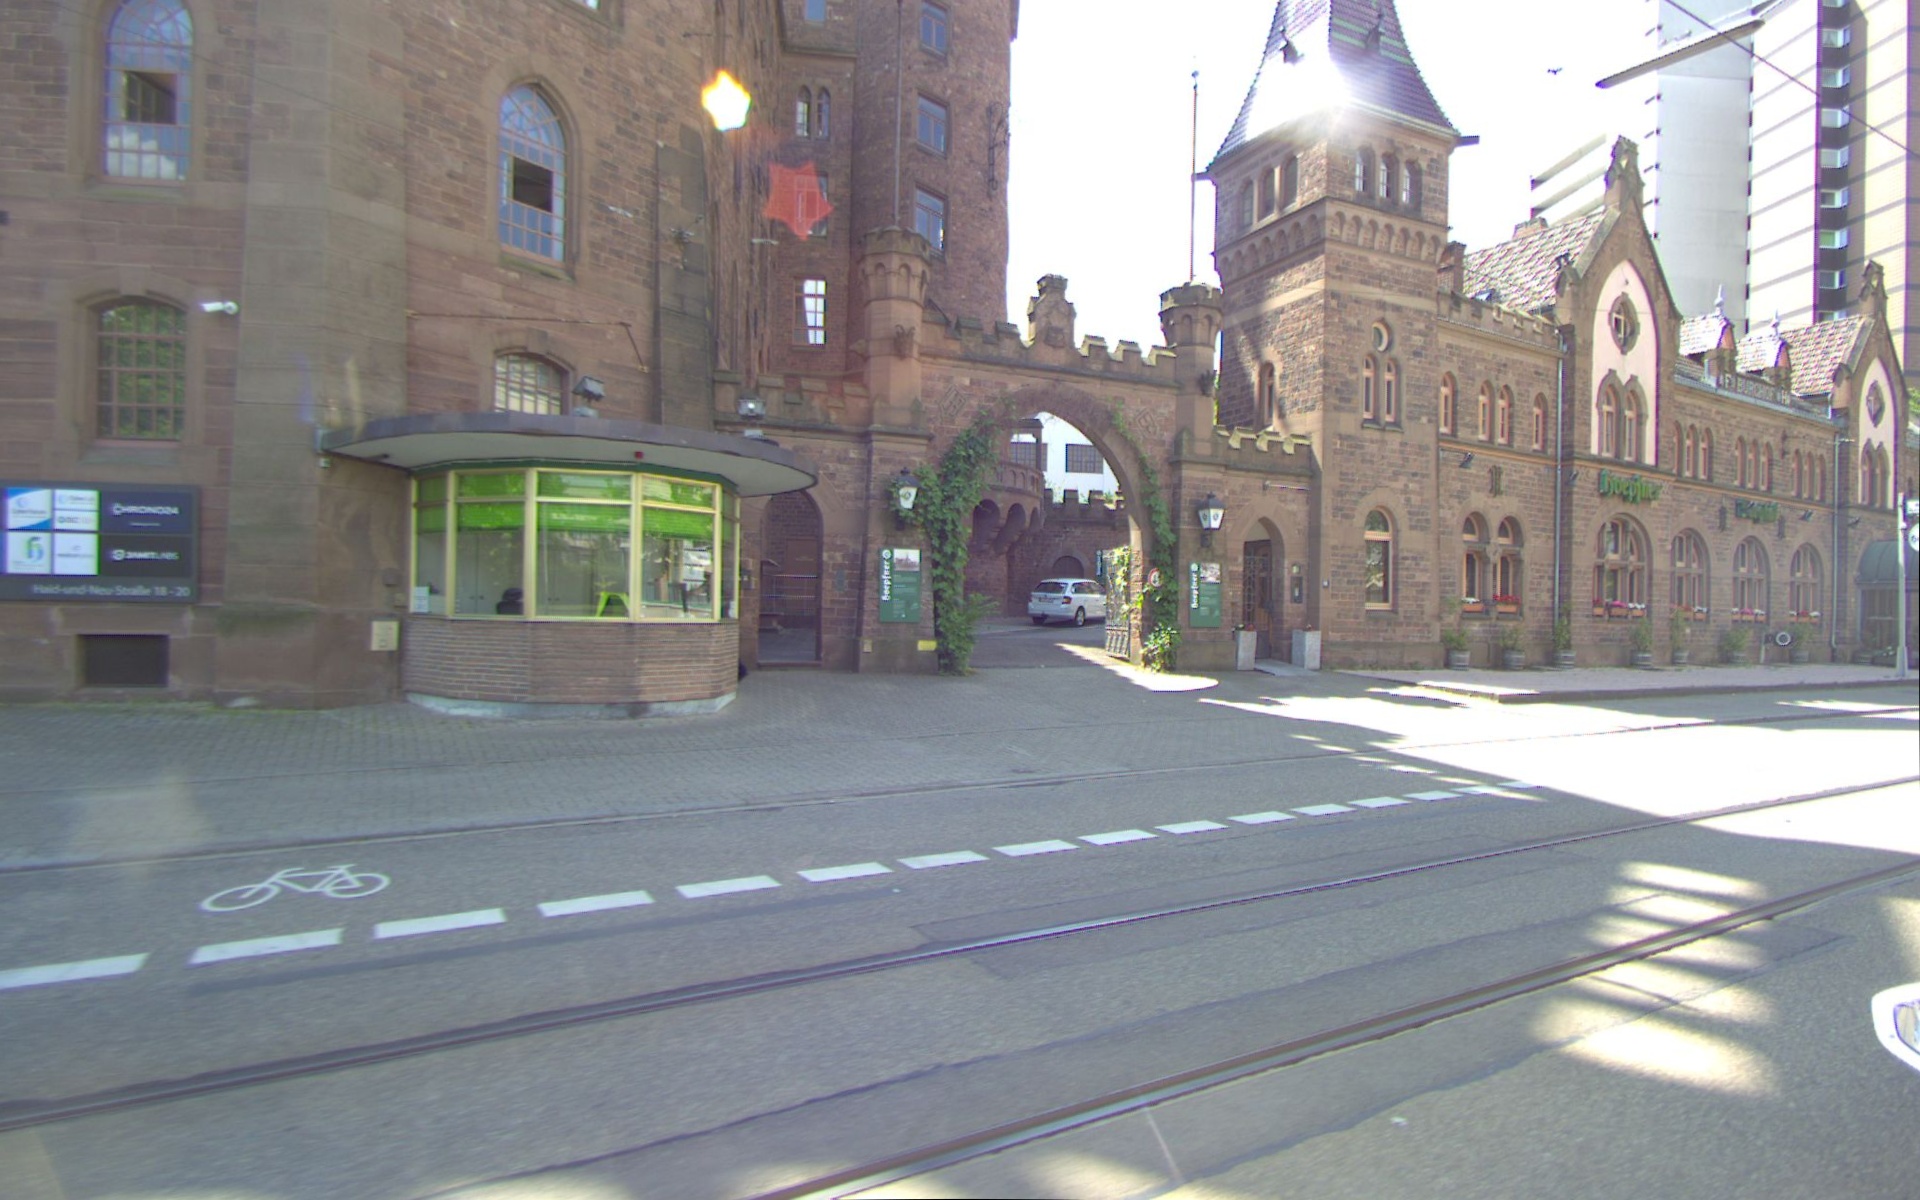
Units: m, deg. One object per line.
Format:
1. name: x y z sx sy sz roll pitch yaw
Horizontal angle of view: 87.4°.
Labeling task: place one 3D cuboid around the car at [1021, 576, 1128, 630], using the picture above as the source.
1. car: 3.814 0.043 33.026 1.731 1.515 3.984 2 4 36

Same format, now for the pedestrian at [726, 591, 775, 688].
1. pedestrian: -3.141 0.591 15.052 0.576 1.419 0.419 1 1 -30
